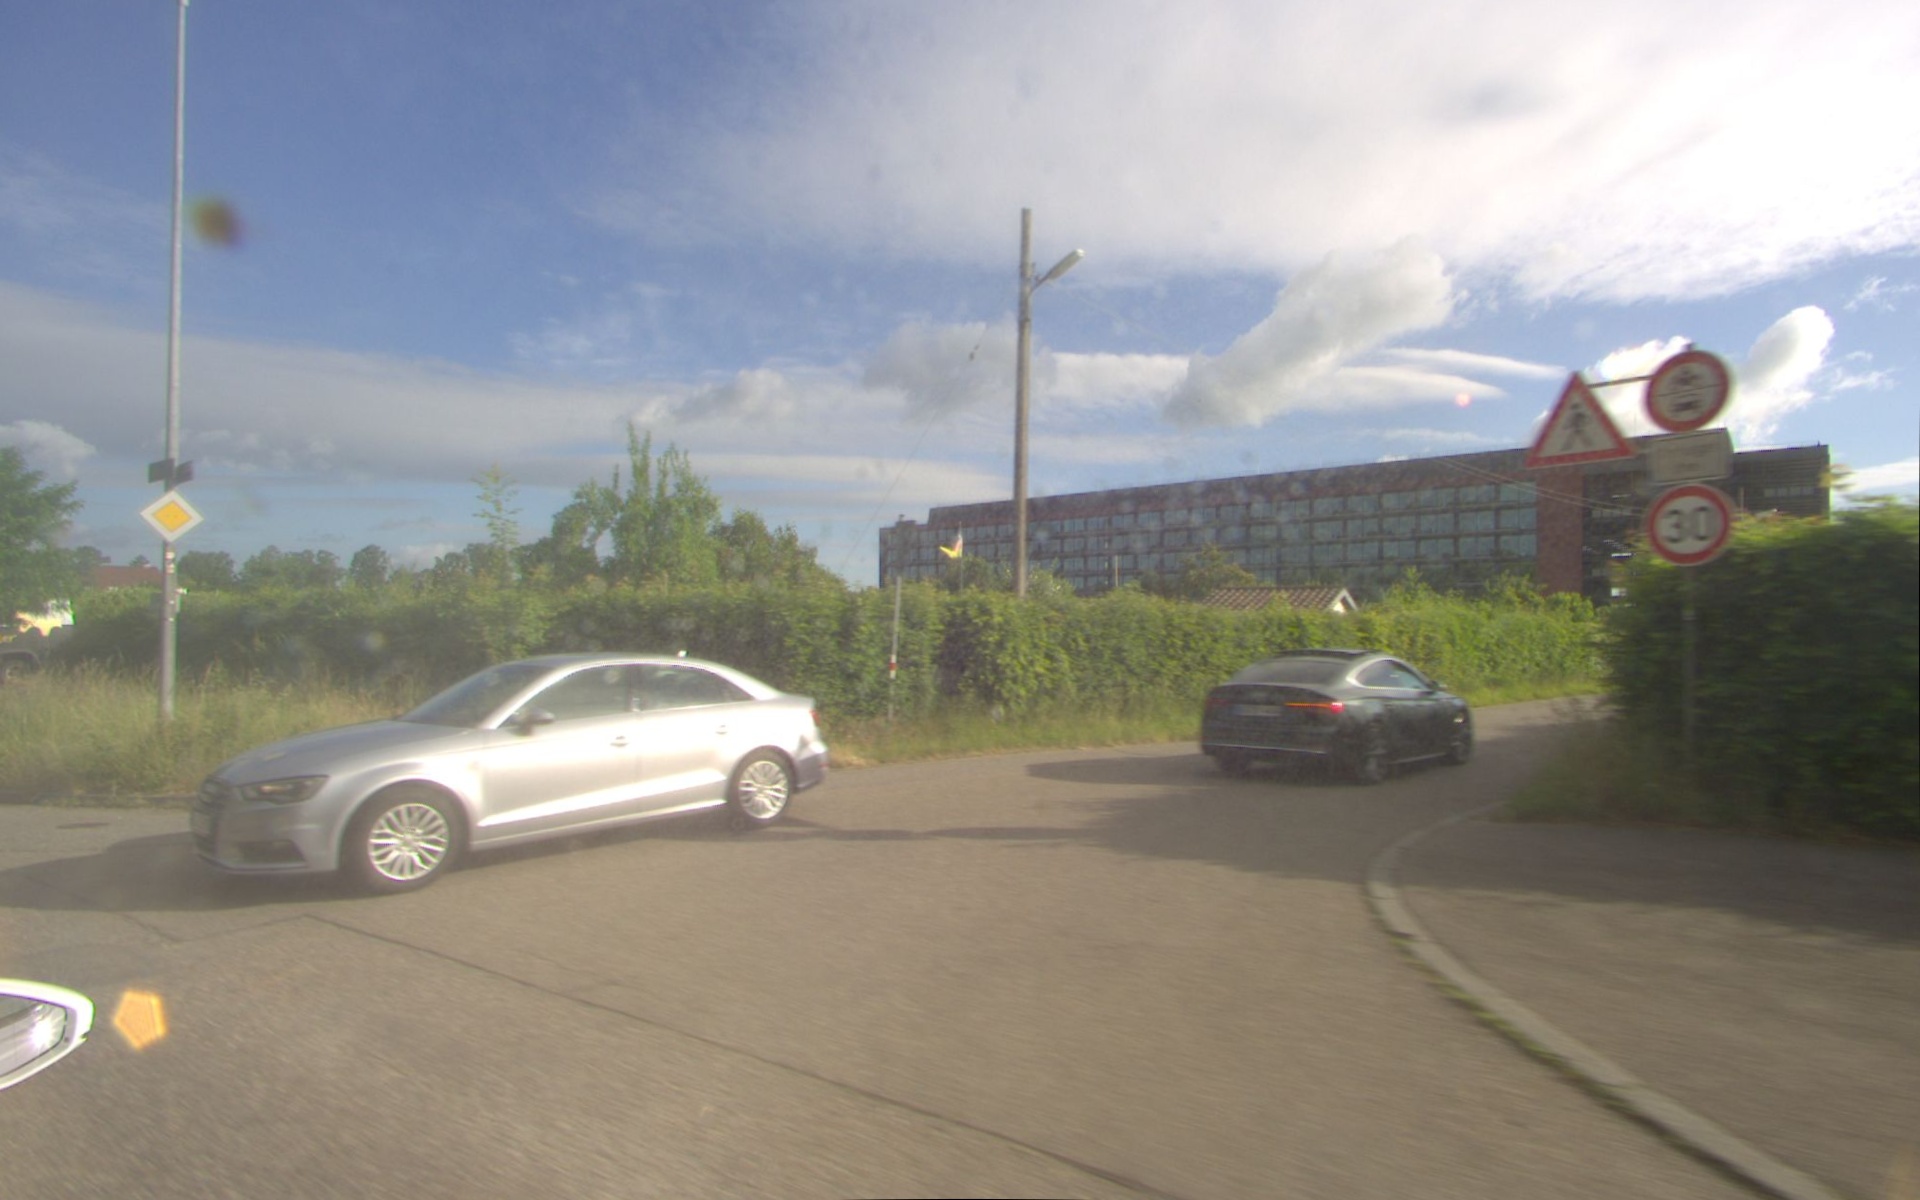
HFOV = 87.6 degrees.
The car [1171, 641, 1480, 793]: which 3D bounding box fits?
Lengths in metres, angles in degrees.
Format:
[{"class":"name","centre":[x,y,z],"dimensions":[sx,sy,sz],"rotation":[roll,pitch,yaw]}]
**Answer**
[{"class":"car","centre":[4.472,1.248,11.872],"dimensions":[1.952,1.452,4.301],"rotation":[-2,-4,43]}]

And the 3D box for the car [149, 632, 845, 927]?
[{"class":"car","centre":[-3.106,1.003,7.456],"dimensions":[1.911,1.462,4.340],"rotation":[-1,-1,42]}]

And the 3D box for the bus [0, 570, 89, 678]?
[{"class":"bus","centre":[-26.092,0.601,25.662],"dimensions":[2.039,2.783,5.354],"rotation":[1,0,32]}]
